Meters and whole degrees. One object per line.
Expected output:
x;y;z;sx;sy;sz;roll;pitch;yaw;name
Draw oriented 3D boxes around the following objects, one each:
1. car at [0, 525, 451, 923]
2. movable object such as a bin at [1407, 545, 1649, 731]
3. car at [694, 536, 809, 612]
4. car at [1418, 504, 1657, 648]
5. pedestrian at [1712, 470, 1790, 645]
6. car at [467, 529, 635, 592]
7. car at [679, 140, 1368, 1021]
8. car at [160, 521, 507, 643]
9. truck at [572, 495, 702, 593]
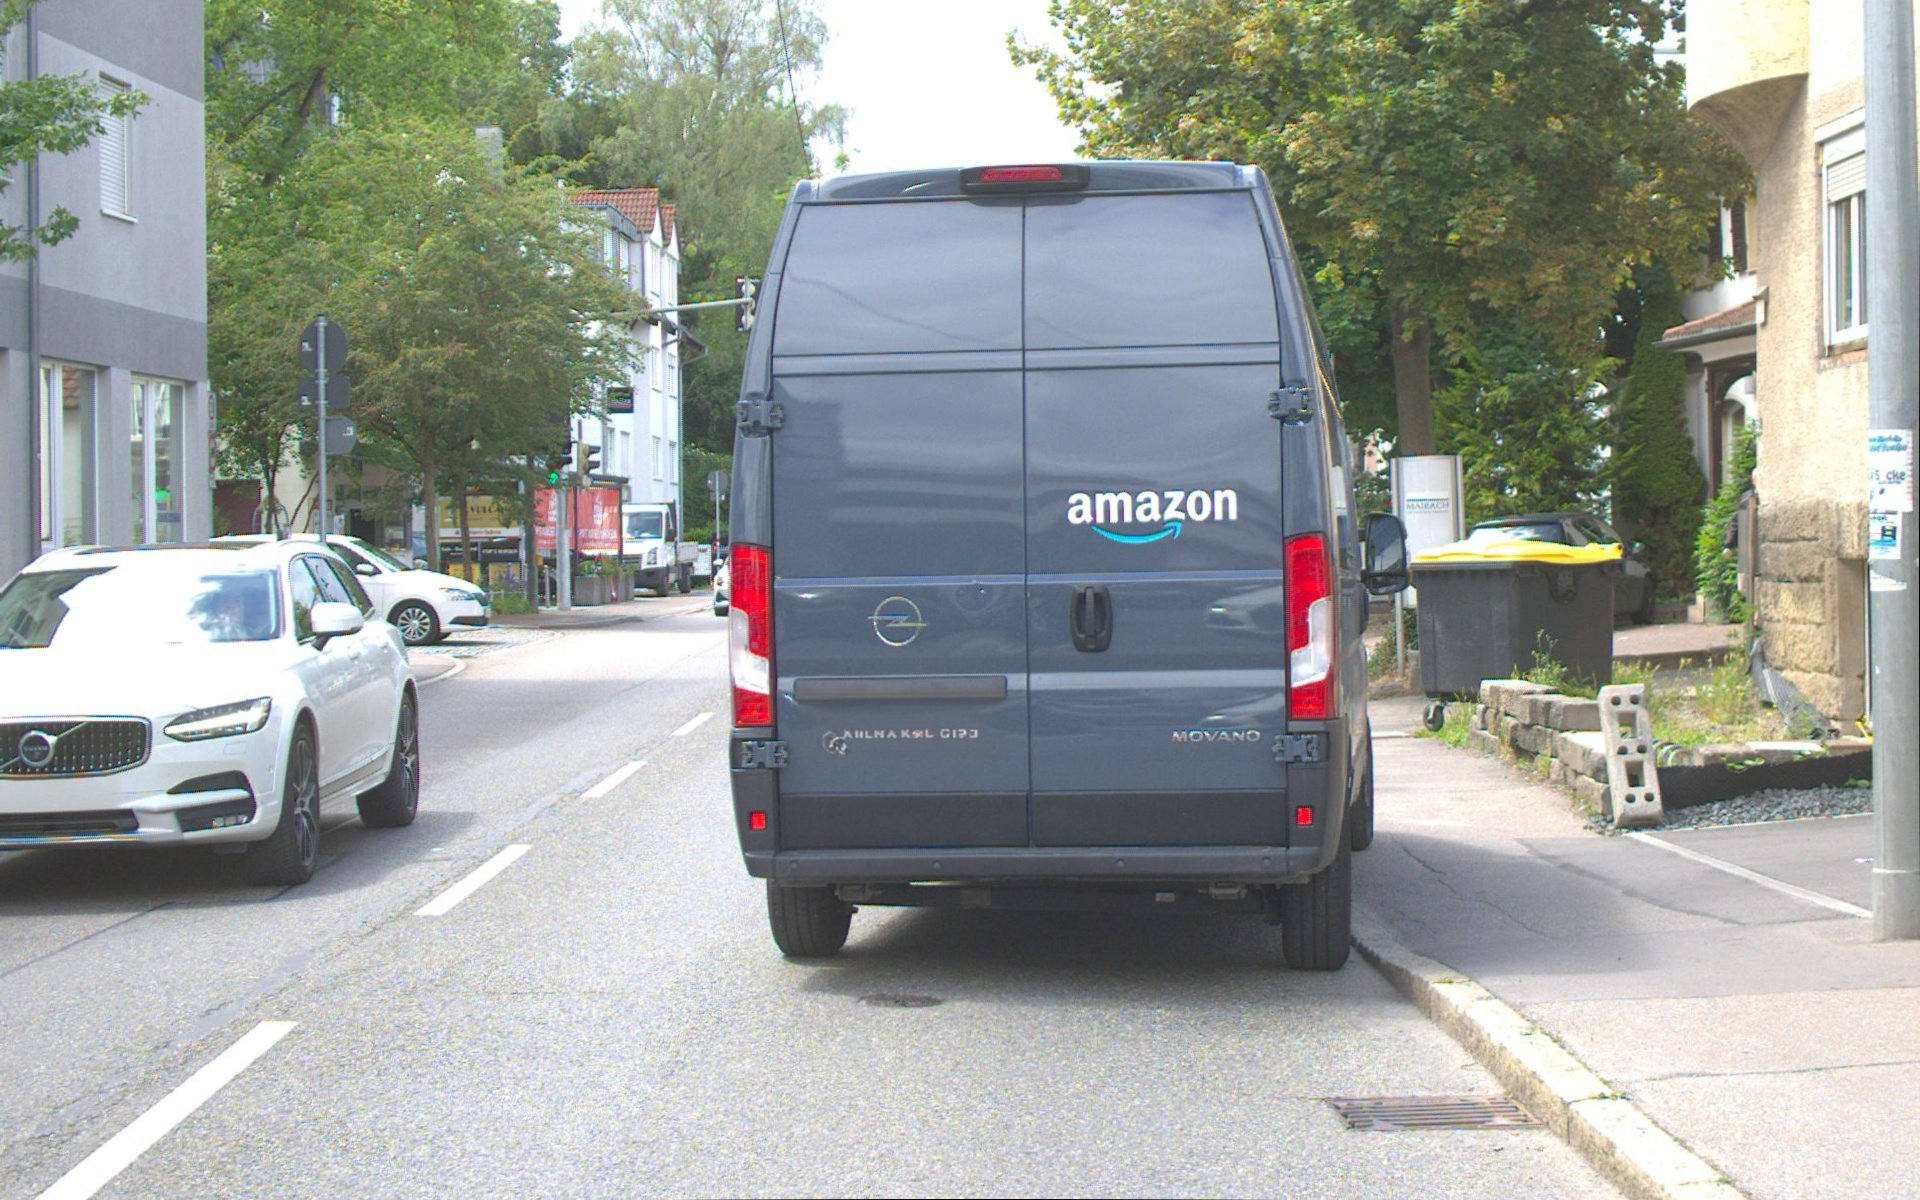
-3.738;0.475;16.316;1.897;1.554;4.801;-3;1;0;car
3.983;0.246;24.148;1.182;1.261;1.210;-1;1;-30;movable object such as a bin
-3.985;-0.527;66.246;1.874;1.419;4.115;0;1;1;car
7.165;-0.323;42.334;1.754;1.512;4.074;-3;1;26;car
8.115;-0.439;35.292;0.740;1.776;0.899;0;1;11;pedestrian
-9.388;-0.913;79.147;3.692;1.420;1.805;0;1;-2;car
0.558;-0.118;14.001;2.148;2.761;6.248;0;1;7;car
-8.214;-0.252;45.282;4.212;1.508;1.822;0;2;1;car
-8.065;-1.384;86.414;2.225;2.372;6.325;0;1;4;truck
